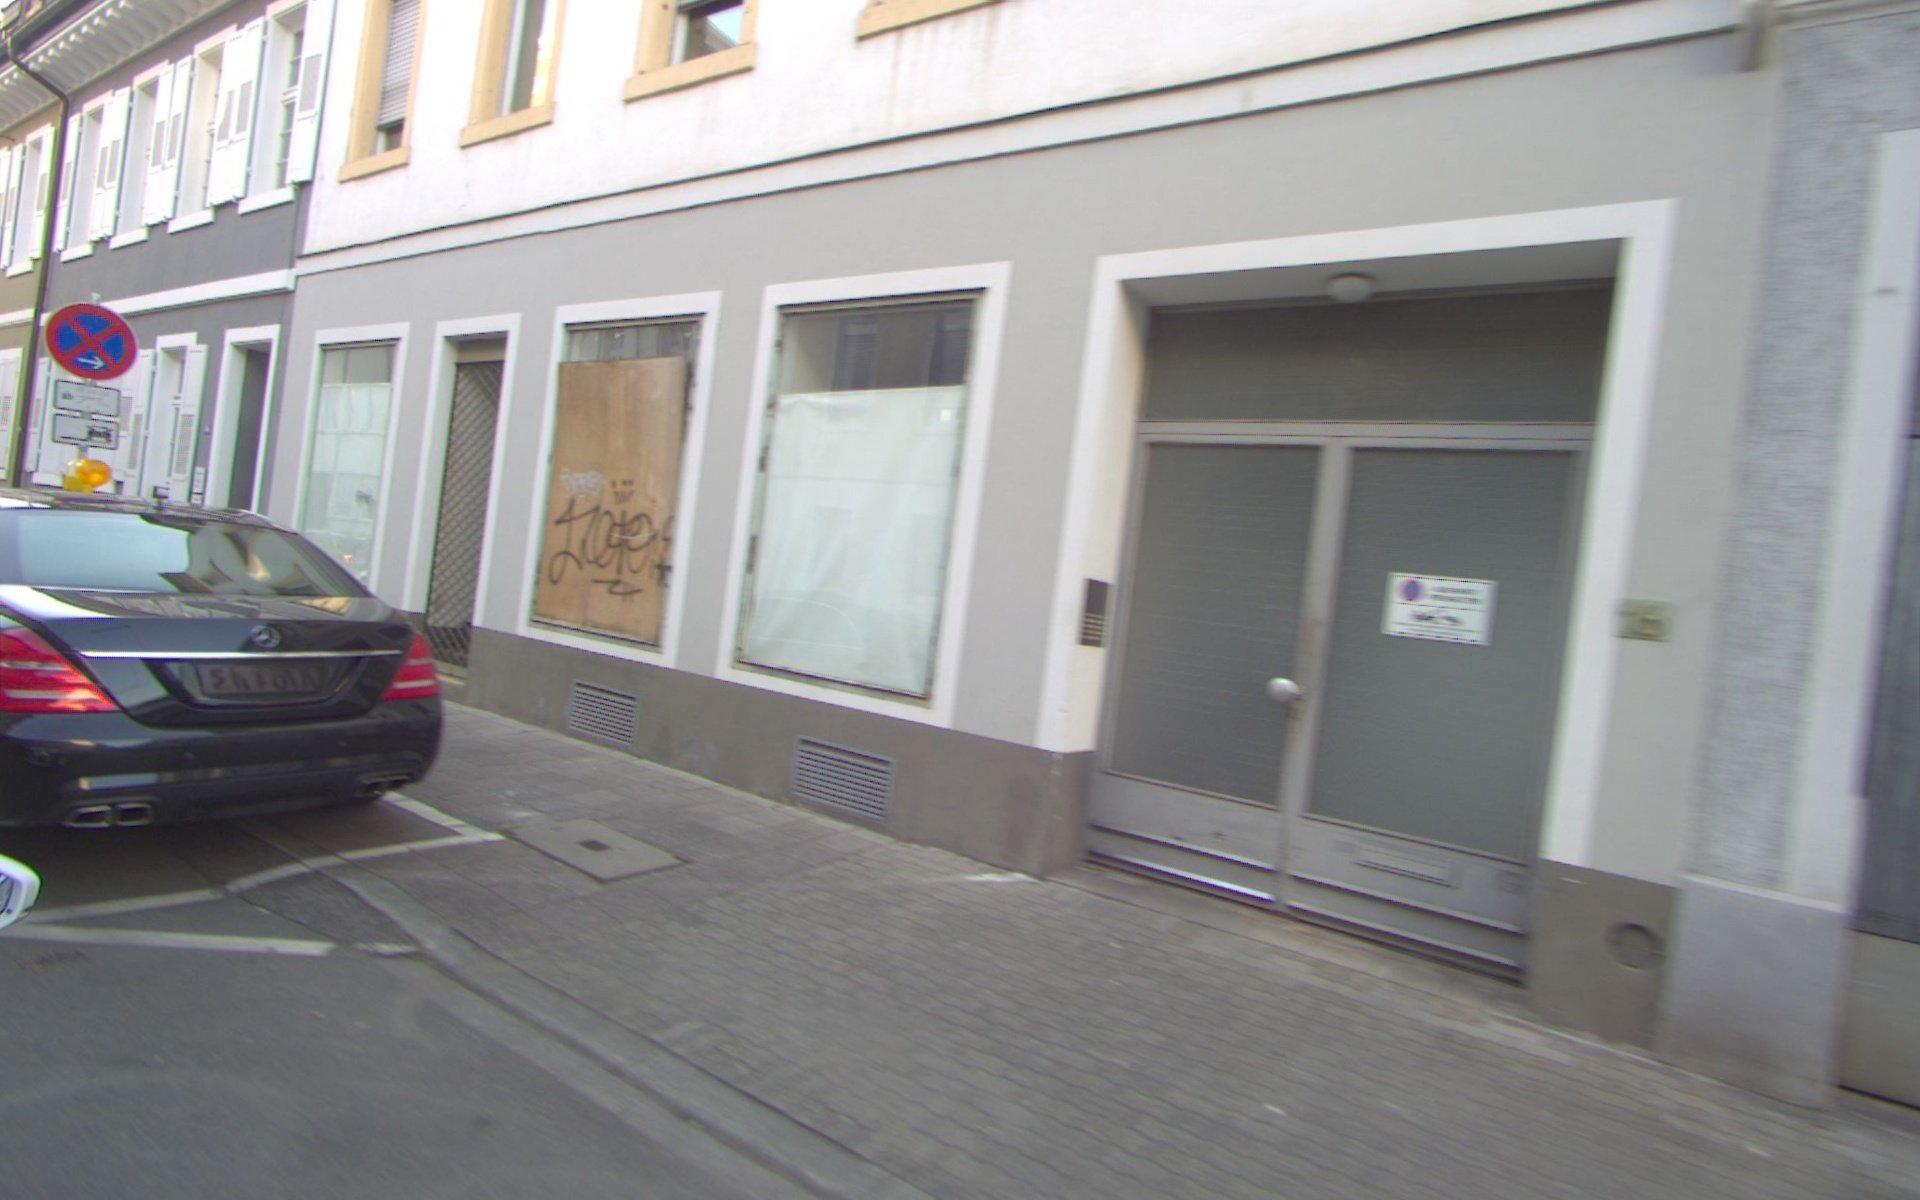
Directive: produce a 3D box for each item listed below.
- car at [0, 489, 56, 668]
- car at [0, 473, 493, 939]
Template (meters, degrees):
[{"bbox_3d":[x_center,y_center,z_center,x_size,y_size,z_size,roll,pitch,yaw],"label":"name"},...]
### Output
[{"bbox_3d":[-10.083,-0.453,9.219,3.936,1.503,1.678,7,-2,35],"label":"car"},{"bbox_3d":[-4.751,0.141,5.393,4.992,1.551,1.818,7,3,36],"label":"car"}]
